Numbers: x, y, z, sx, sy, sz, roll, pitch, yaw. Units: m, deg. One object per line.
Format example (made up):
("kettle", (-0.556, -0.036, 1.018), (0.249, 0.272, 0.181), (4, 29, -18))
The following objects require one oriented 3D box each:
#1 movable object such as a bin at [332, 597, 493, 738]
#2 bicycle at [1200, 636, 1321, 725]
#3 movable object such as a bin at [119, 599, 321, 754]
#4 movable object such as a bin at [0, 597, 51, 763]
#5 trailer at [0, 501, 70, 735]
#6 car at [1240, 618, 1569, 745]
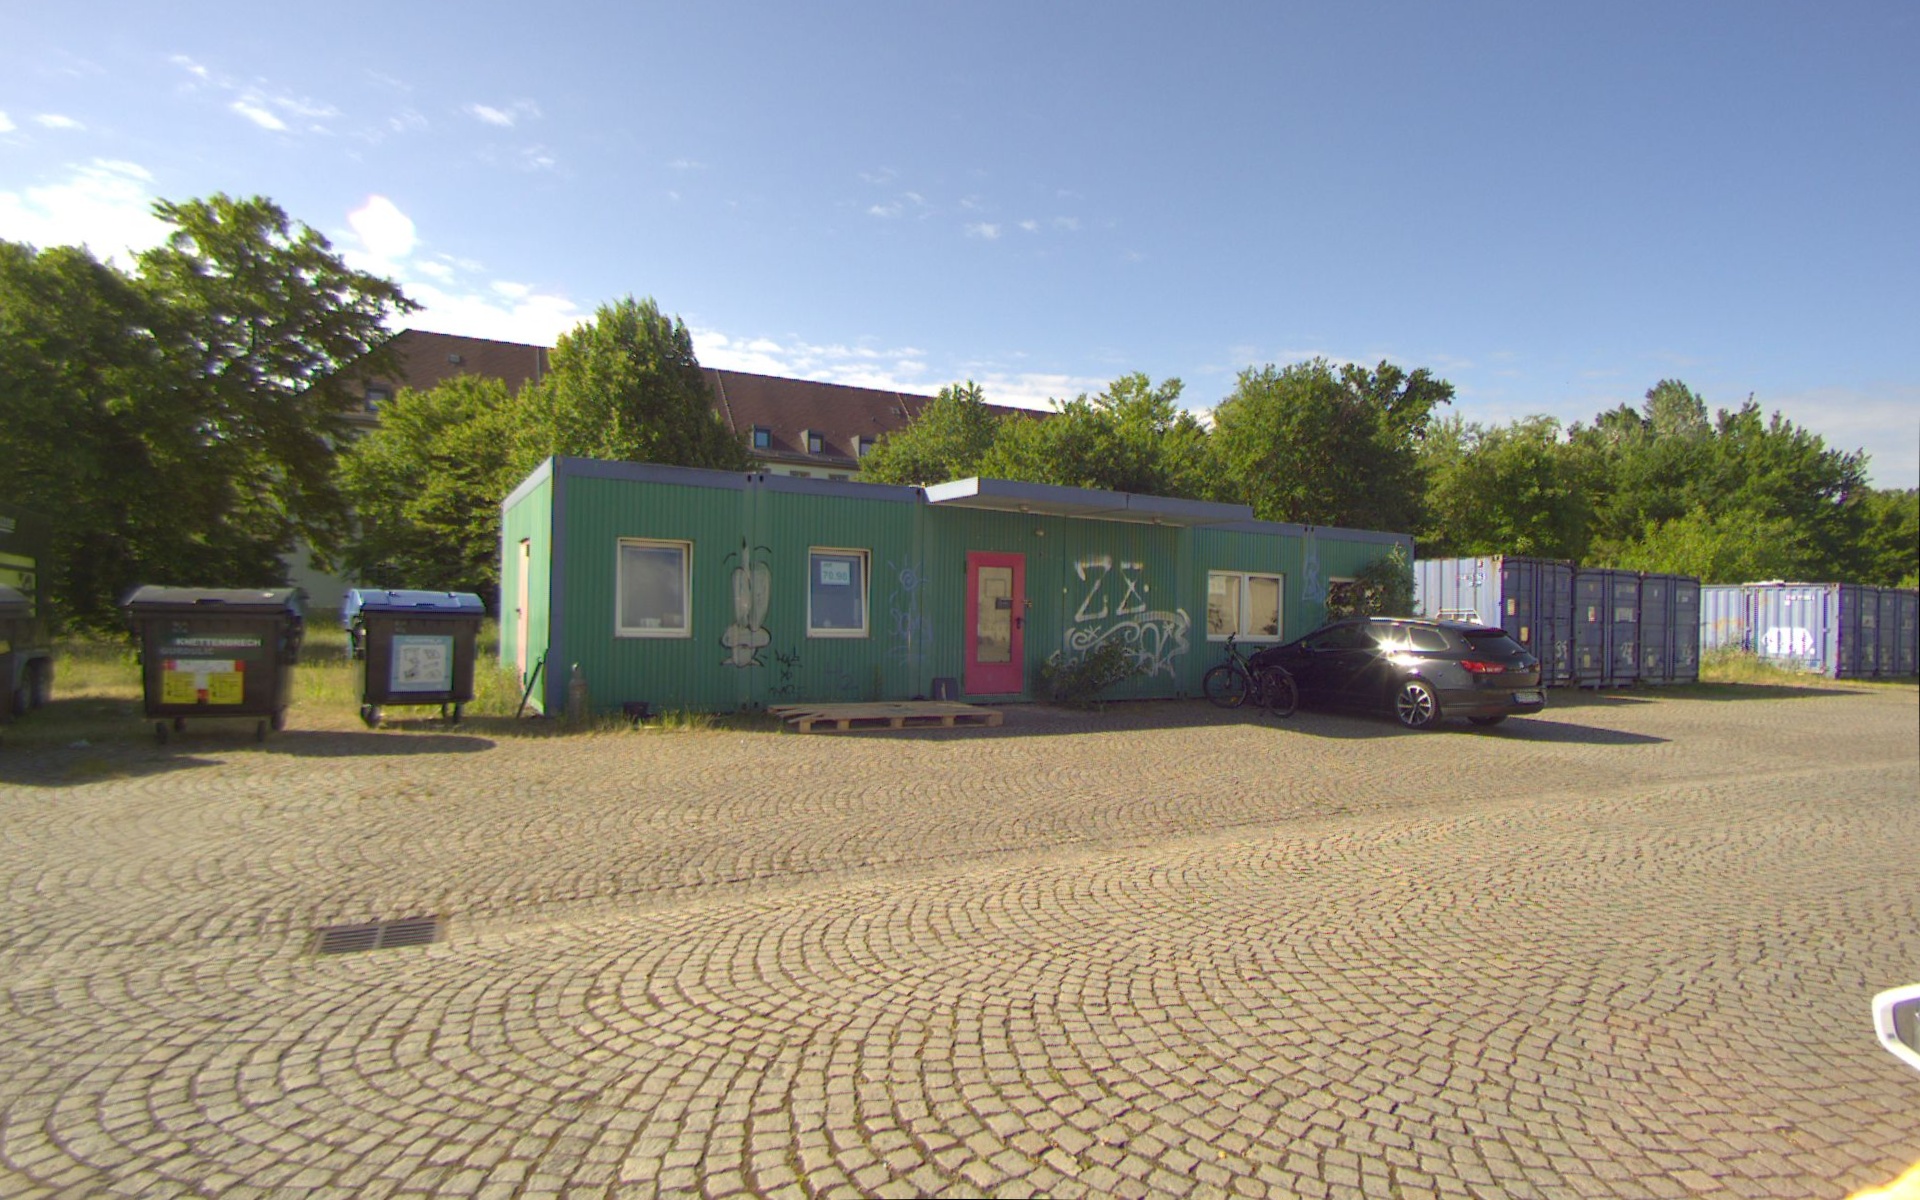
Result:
("movable object such as a bin", (-6.144, 0.721, 11.282), (1.397, 1.456, 1.076), (2, -1, -39))
("bicycle", (4.300, 1.125, 14.514), (0.665, 1.116, 1.701), (1, 1, -27))
("movable object such as a bin", (-7.163, 0.709, 9.830), (1.350, 1.404, 1.078), (1, -1, -24))
("movable object such as a bin", (-8.746, 0.668, 8.392), (1.027, 1.404, 1.364), (1, -1, 20))
("trailer", (-11.080, 0.164, 10.432), (1.922, 2.423, 4.812), (1, 0, -32))
("car", (6.151, 1.043, 14.351), (1.713, 1.432, 4.027), (2, 0, -32))
